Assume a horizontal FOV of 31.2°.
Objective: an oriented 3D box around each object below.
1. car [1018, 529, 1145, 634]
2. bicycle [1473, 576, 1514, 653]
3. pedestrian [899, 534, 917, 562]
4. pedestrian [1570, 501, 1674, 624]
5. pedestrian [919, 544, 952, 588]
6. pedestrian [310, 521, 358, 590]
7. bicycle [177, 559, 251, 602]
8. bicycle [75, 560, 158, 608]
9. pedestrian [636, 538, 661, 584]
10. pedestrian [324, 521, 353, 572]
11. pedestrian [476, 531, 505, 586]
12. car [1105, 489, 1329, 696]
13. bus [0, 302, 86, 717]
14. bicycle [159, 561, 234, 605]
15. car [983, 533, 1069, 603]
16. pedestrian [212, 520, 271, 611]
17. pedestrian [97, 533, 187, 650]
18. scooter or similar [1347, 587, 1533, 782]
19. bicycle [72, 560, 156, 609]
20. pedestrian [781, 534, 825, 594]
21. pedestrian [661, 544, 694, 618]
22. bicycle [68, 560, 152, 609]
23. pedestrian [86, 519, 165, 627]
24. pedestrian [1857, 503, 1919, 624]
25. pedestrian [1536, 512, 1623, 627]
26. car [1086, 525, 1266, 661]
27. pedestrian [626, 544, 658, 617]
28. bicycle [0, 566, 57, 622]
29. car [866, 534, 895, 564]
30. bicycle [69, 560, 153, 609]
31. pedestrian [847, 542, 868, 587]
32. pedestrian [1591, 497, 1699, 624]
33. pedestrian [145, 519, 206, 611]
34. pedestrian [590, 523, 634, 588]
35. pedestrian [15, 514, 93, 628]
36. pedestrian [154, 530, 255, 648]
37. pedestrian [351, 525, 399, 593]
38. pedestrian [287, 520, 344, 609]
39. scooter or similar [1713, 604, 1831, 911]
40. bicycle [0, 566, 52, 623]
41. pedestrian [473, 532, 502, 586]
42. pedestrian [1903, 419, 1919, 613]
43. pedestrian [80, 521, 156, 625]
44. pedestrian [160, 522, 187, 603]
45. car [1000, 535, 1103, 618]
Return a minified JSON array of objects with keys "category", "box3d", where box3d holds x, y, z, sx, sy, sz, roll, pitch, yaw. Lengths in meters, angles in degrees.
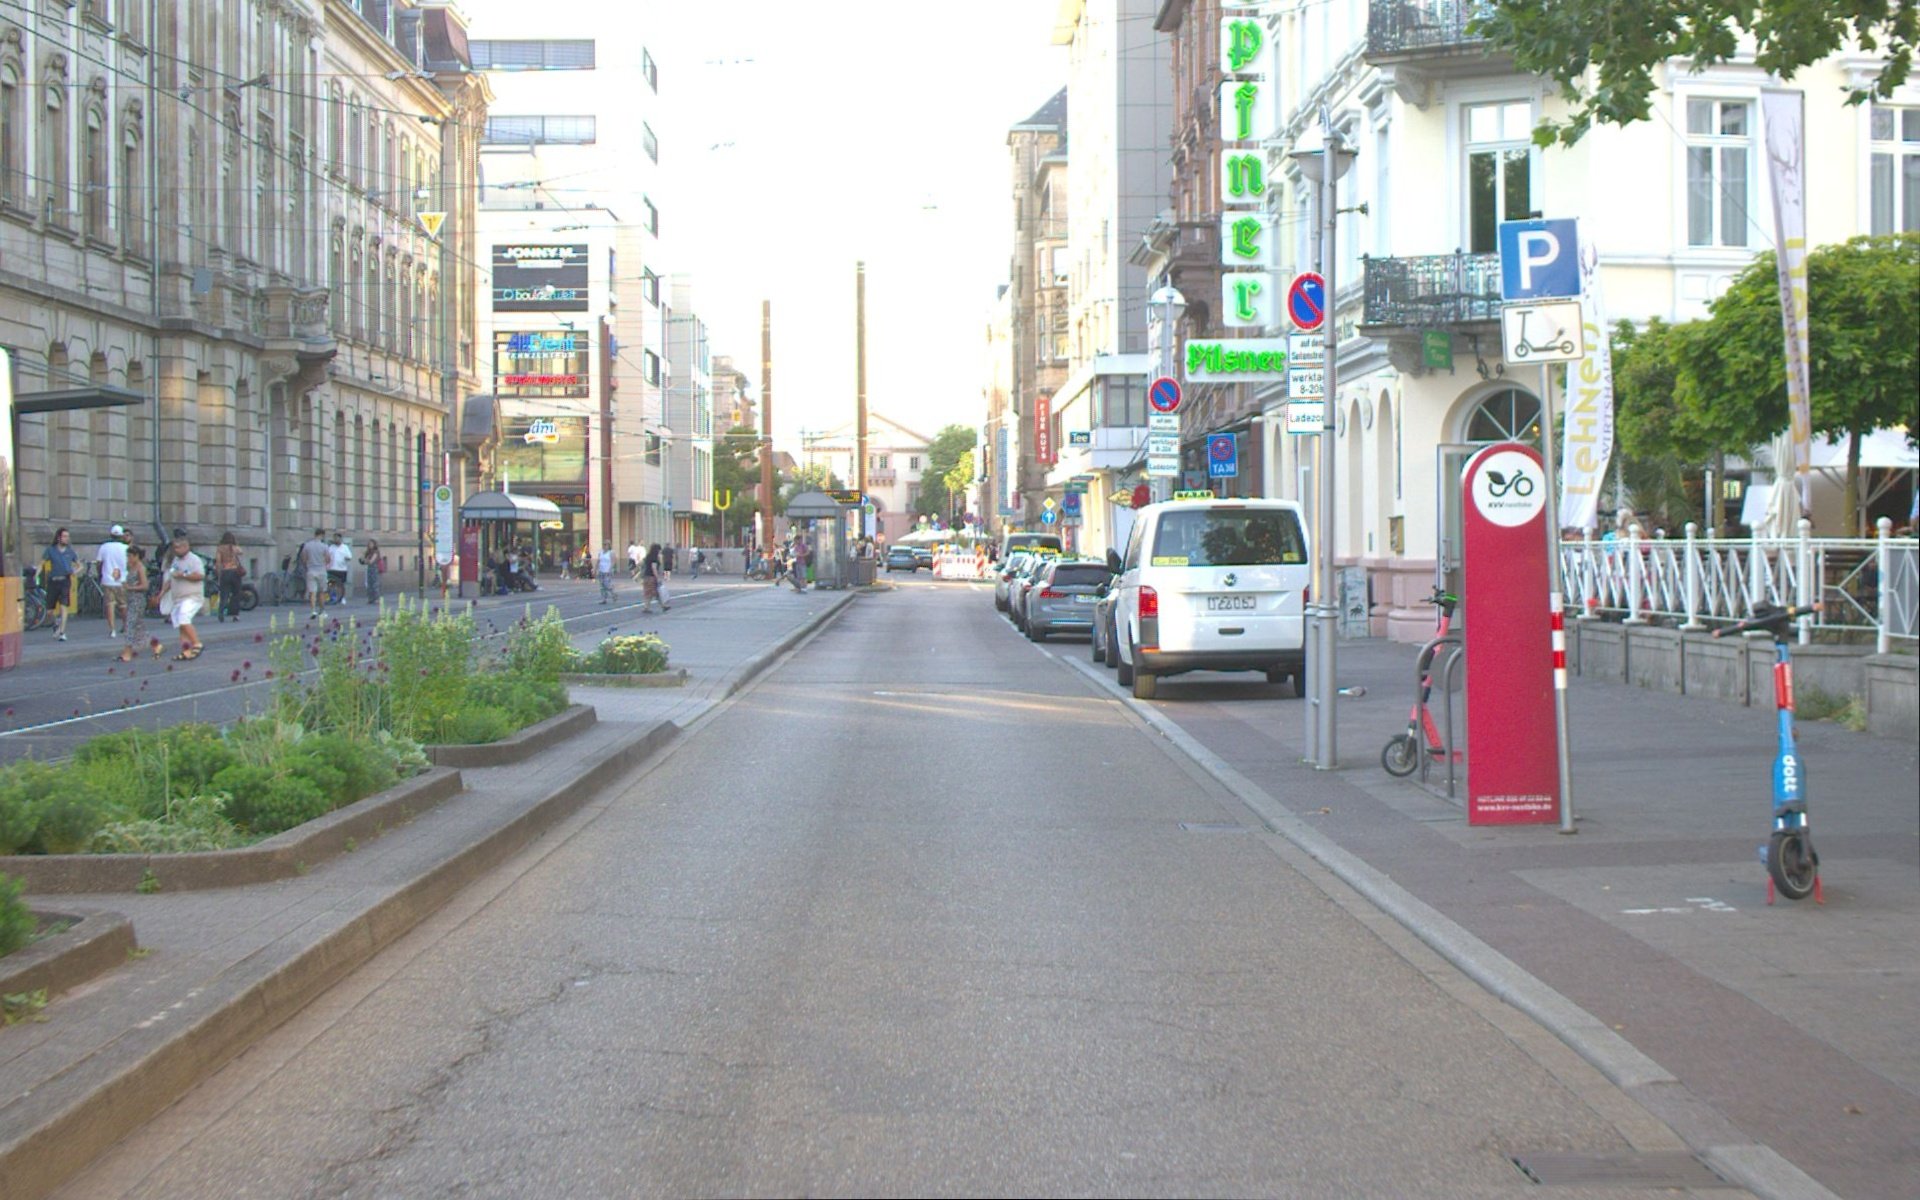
[{"category":"car","box3d":[2.083,-0.333,60.080,1.993,1.755,4.421,0,1,-1]},{"category":"bicycle","box3d":[6.357,0.179,40.993,0.250,0.899,1.374,0,-1,-1]},{"category":"pedestrian","box3d":[-3.255,-3.249,215.959,0.782,1.728,0.811,-1,-1,40]},{"category":"pedestrian","box3d":[7.130,-0.395,37.079,0.902,1.301,0.967,0,-1,-1]},{"category":"pedestrian","box3d":[-1.071,-1.500,150.109,1.229,1.922,1.022,0,1,-16]},{"category":"pedestrian","box3d":[-15.367,-1.099,84.384,1.048,1.680,0.908,0,1,-19]},{"category":"bicycle","box3d":[-16.482,-0.431,75.992,1.582,0.945,0.359,0,0,-12]},{"category":"bicycle","box3d":[-16.760,-0.312,68.296,1.582,0.946,0.359,0,-1,-12]},{"category":"pedestrian","box3d":[-12.946,-1.634,142.907,0.905,1.922,0.851,0,1,-16]},{"category":"pedestrian","box3d":[-17.288,-1.488,95.698,0.629,1.424,0.710,0,1,6]},{"category":"pedestrian","box3d":[-13.537,-1.200,99.040,0.773,1.575,0.679,0,1,-12]},{"category":"car","box3d":[2.574,-0.097,35.389,1.915,1.975,4.421,0,1,-1]},{"category":"bus","box3d":[-9.712,-0.760,26.805,2.822,3.600,11.823,0,0,0]},{"category":"bicycle","box3d":[-16.490,-0.370,74.275,1.582,0.946,0.359,0,-1,-12]},{"category":"car","box3d":[1.629,-0.781,86.179,1.993,1.661,4.421,0,-1,-1]},{"category":"pedestrian","box3d":[-13.478,-0.648,64.486,1.048,1.680,0.908,0,-1,-10]},{"category":"pedestrian","box3d":[-10.693,-0.110,44.926,0.758,1.509,0.861,-1,-1,43]},{"category":"scooter or similar","box3d":[3.079,0.542,22.089,1.125,1.212,0.300,-2,1,1]},{"category":"bicycle","box3d":[-16.696,-0.306,67.862,1.582,0.946,0.359,0,-1,-12]},{"category":"pedestrian","box3d":[-4.514,-1.029,98.911,1.049,1.680,0.908,-1,-1,11]},{"category":"pedestrian","box3d":[-6.276,-0.434,76.336,0.671,1.630,0.763,0,1,-8]},{"category":"bicycle","box3d":[-16.566,-0.297,67.011,1.582,0.946,0.359,0,-1,-12]},{"category":"pedestrian","box3d":[-12.929,-0.404,53.279,0.880,1.648,0.875,-1,-1,13]},{"category":"pedestrian","box3d":[10.164,-0.386,36.632,0.963,1.262,0.905,0,-1,-1]},{"category":"pedestrian","box3d":[7.125,-0.344,39.561,0.822,1.301,0.870,0,-1,-1]},{"category":"car","box3d":[2.753,-0.097,44.711,1.993,1.661,4.421,0,0,-1]},{"category":"pedestrian","box3d":[-7.058,-0.438,76.296,0.689,1.630,0.581,0,1,-8]},{"category":"bicycle","box3d":[-16.279,-0.094,58.792,1.582,0.946,0.359,0,-1,-12]},{"category":"car","box3d":[-5.032,-3.227,217.413,1.760,1.821,3.570,0,-1,-1]},{"category":"bicycle","box3d":[-16.649,-0.298,67.461,1.582,0.946,0.359,0,-1,-11]},{"category":"pedestrian","box3d":[-3.436,-1.195,115.417,0.612,1.518,0.621,0,-1,-9]},{"category":"pedestrian","box3d":[7.167,-0.405,35.993,0.902,1.309,0.967,0,-1,-1]},{"category":"pedestrian","box3d":[-14.461,-0.637,63.396,1.048,1.680,0.908,0,-1,-10]},{"category":"pedestrian","box3d":[-9.034,-1.169,89.305,1.049,1.680,0.908,0,1,-1]},{"category":"pedestrian","box3d":[-13.671,-0.430,51.905,0.872,1.704,1.131,-1,-1,0]},{"category":"pedestrian","box3d":[-9.761,-0.138,44.429,0.718,1.509,1.035,-1,-1,43]},{"category":"pedestrian","box3d":[-14.707,-1.033,86.409,1.048,1.680,0.908,-1,1,-19]},{"category":"pedestrian","box3d":[-12.308,-0.668,65.633,1.048,1.680,0.908,0,-1,-10]},{"category":"scooter or similar","box3d":[3.427,0.640,14.560,0.315,1.217,1.272,-1,1,6]},{"category":"bicycle","box3d":[-16.121,-0.095,57.896,1.582,0.946,0.359,0,-1,-12]},{"category":"pedestrian","box3d":[-13.723,-1.200,99.898,0.777,1.575,0.679,0,1,-12]},{"category":"pedestrian","box3d":[11.662,-0.996,40.877,0.612,2.296,0.581,0,-1,-22]},{"category":"pedestrian","box3d":[-14.078,-0.440,57.490,0.873,1.714,0.881,-1,-1,23]},{"category":"pedestrian","box3d":[-16.187,-0.776,70.737,0.516,1.667,0.482,0,1,-16]},{"category":"car","box3d":[1.906,-0.472,73.026,1.993,1.661,4.421,0,-1,-1]}]
